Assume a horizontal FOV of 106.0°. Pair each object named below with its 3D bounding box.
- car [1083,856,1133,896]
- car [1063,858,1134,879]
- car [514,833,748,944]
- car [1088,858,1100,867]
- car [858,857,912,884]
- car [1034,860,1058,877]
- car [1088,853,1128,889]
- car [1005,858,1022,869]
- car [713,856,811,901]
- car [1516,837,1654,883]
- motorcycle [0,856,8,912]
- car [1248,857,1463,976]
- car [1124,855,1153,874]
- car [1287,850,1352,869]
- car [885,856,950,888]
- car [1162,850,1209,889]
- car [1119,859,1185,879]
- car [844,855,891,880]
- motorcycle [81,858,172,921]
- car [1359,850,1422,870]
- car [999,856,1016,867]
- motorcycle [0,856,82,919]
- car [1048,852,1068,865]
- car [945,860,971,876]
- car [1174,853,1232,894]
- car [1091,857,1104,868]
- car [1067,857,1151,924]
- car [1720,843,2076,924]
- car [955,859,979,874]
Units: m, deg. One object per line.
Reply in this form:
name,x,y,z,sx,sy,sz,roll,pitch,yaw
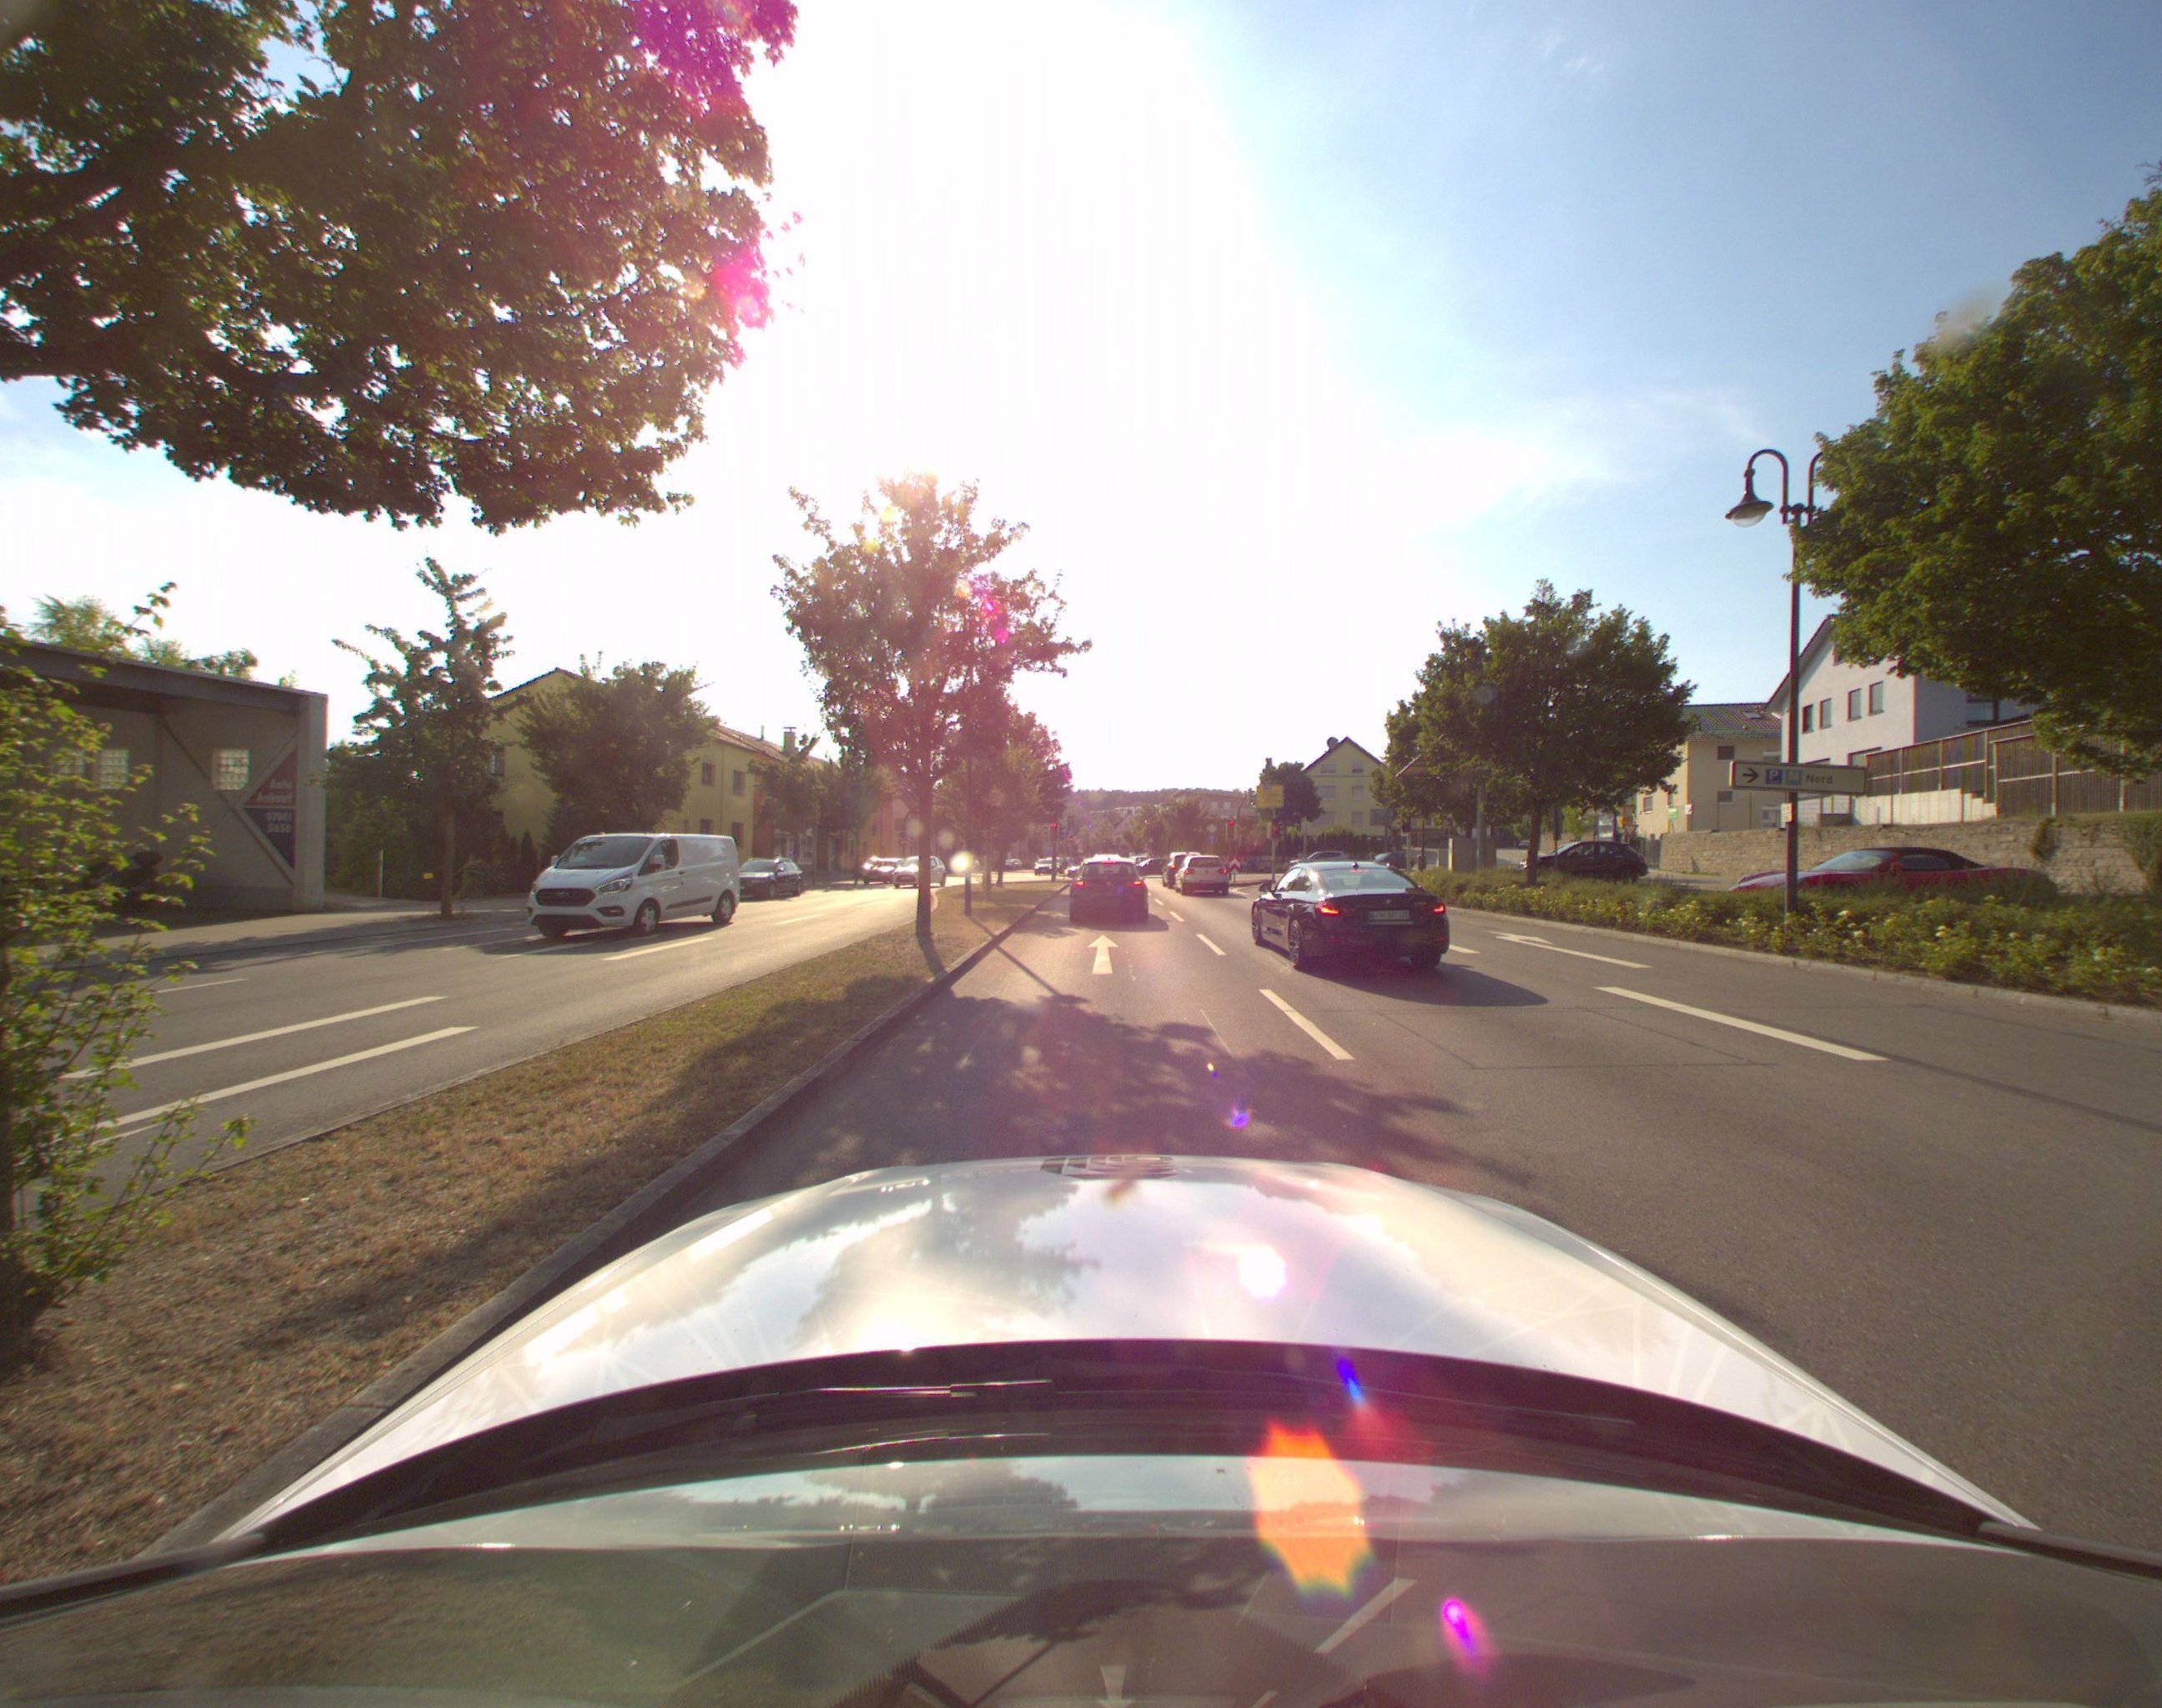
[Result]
car,1.098,0.794,31.854,1.809,1.451,4.244,0,0,3
car,1.166,0.929,54.756,4.479,1.349,1.774,0,0,-20
car,-8.806,0.604,16.563,1.815,1.923,4.948,0,0,3
car,2.201,1.441,138.652,1.916,1.596,4.003,0,0,3
car,-11.257,0.917,47.075,1.679,1.462,4.716,0,0,4
car,-3.094,1.281,72.240,1.759,1.458,4.003,0,0,3
car,1.347,0.778,39.175,1.809,1.641,4.244,0,0,3
car,-9.967,1.418,120.408,1.916,1.596,4.003,0,0,3
car,-11.498,0.837,29.684,1.800,1.497,4.247,0,0,2
car,18.510,0.211,30.094,3.959,1.608,1.861,0,0,13
motorcycle,-25.342,0.706,18.334,0.625,1.307,2.071,0,0,-29
car,3.657,0.739,11.714,1.809,1.388,4.350,0,0,3
car,5.504,1.008,78.343,1.889,1.702,4.513,-1,0,-7
car,19.008,0.440,65.019,4.632,1.485,1.866,0,0,-2
car,-7.945,0.857,40.028,1.790,1.497,3.967,0,0,10
car,4.763,0.668,37.560,1.809,1.666,4.350,0,0,3
car,5.403,1.132,61.992,4.643,1.422,1.837,0,0,-20
car,-14.389,0.909,55.065,1.835,1.552,4.004,2,0,4
motorcycle,-20.994,0.748,17.964,0.564,1.307,2.096,0,0,-28
car,22.651,0.418,59.656,4.180,1.386,1.643,0,0,-13
car,-10.366,1.017,114.913,1.916,1.596,4.003,0,0,3
motorcycle,-23.007,0.699,17.904,0.564,1.307,2.071,0,0,-28
car,-2.348,0.451,84.383,1.686,1.353,4.003,0,0,3
car,-12.810,1.399,84.883,1.916,1.596,4.003,0,0,3
car,4.611,0.710,31.325,1.809,1.446,4.350,0,0,3
car,2.573,1.337,124.540,1.917,1.596,4.001,0,0,1
car,0.706,0.796,19.687,1.783,1.414,4.350,0,0,3
car,13.798,0.481,14.053,3.959,1.272,1.860,0,-1,13
car,-12.563,1.353,90.126,1.916,1.596,4.003,0,0,3
